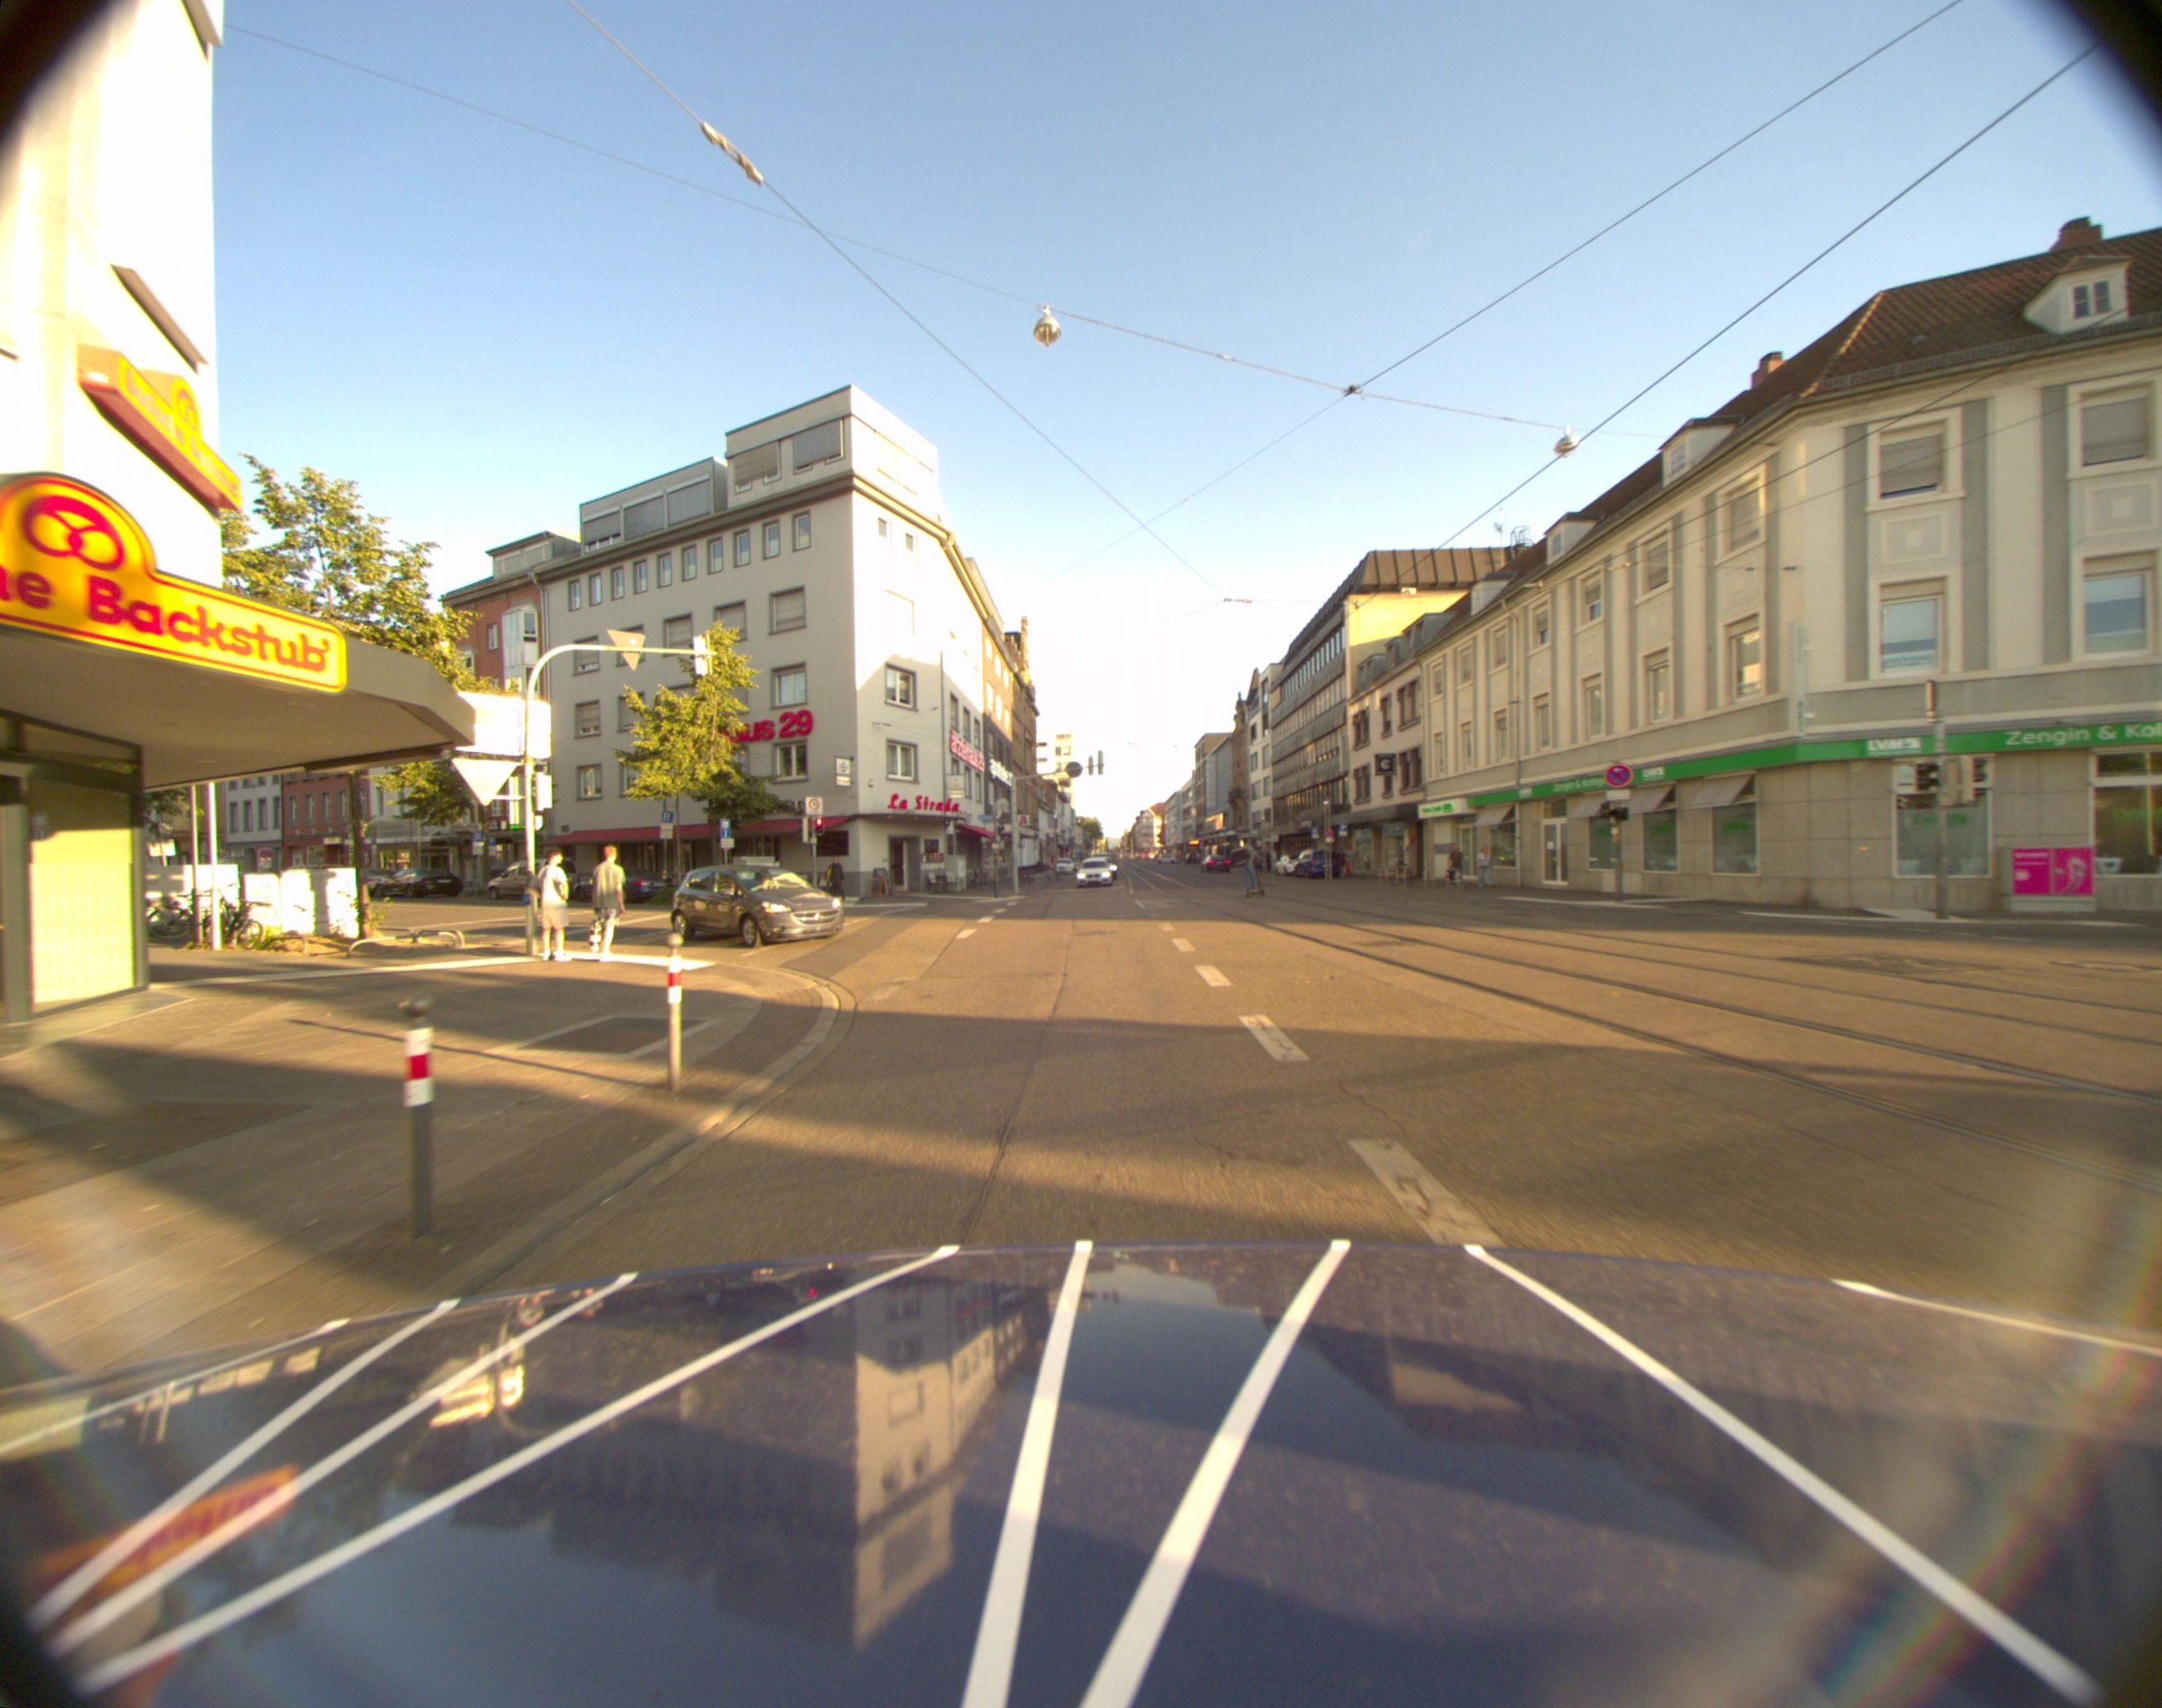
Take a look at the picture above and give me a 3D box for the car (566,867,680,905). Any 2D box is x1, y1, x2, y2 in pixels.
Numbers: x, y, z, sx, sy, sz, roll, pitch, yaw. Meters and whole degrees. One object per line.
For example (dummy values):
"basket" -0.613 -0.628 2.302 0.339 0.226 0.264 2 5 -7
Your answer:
"car" -17.849 1.192 29.590 4.300 1.345 1.657 0 0 25

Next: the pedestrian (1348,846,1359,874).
"pedestrian" 16.965 0.366 47.320 0.515 1.725 0.601 -1 3 2

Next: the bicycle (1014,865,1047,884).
"bicycle" -2.808 1.148 42.333 1.828 1.025 0.443 0 0 -4

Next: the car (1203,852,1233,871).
"car" 11.335 0.624 63.075 1.895 1.471 4.544 0 0 3

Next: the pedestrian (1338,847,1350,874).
"pedestrian" 16.324 0.407 47.190 0.509 1.675 0.584 -2 2 1

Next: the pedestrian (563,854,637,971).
"pedestrian" -7.478 0.887 11.841 0.749 1.763 0.586 -1 1 -5

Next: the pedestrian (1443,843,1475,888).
"pedestrian" 15.021 0.442 30.215 0.827 1.718 0.814 -2 1 2

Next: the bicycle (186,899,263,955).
"bicycle" -16.333 1.377 14.489 1.666 1.004 0.405 -1 -1 21

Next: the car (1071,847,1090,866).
"car" -0.046 0.261 85.510 2.041 2.105 4.387 -1 0 2

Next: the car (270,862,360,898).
"car" -42.845 1.455 42.494 4.935 1.873 1.977 -2 0 26

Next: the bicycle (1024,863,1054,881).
"bicycle" -2.509 1.049 45.344 1.762 1.065 0.443 0 2 -4

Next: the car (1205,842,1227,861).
"car" 15.230 -0.346 85.939 1.998 2.002 3.999 -1 2 3

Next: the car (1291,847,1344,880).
"car" 14.184 0.531 45.782 1.914 1.785 4.129 -3 1 2

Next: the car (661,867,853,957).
"car" -6.208 1.003 14.432 3.831 1.445 1.591 -1 1 36

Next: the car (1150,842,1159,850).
"car" 20.632 -2.196 214.107 1.998 2.002 3.998 -1 2 0

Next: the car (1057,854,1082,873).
"car" -0.966 0.829 68.509 2.041 1.550 4.387 -1 0 2

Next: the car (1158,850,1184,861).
"car" 14.669 0.178 123.453 3.825 1.739 1.810 1 3 39

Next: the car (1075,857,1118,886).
"car" 0.852 0.894 39.493 1.914 1.350 3.747 -2 0 6

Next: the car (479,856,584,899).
"car" -23.340 0.965 32.281 3.990 1.655 1.722 0 2 23

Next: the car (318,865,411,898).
"car" -36.871 1.400 39.083 4.931 1.590 1.900 -1 -1 27

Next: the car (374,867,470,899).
"car" -31.636 1.369 36.494 4.406 1.385 1.808 0 1 25

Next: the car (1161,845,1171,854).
"car" 19.488 -1.079 174.622 1.960 2.002 3.998 -1 2 0

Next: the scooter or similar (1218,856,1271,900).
"scooter or similar" 5.263 0.765 24.480 1.671 1.343 0.545 -1 1 -26

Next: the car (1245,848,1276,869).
"car" 14.921 0.352 63.420 1.819 1.548 3.999 -1 2 3

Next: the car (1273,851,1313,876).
"car" 14.379 0.629 51.810 1.701 1.614 4.000 -2 0 2

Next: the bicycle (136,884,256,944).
"bicycle" -19.683 1.301 16.954 0.493 1.187 1.664 -1 1 14

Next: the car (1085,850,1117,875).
"car" 1.398 0.548 52.040 1.998 1.630 4.001 -1 0 3

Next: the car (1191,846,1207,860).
"car" 17.161 -0.116 110.585 1.833 1.907 3.999 -1 2 2

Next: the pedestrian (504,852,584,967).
"pedestrian" -8.447 0.856 11.972 0.748 1.763 0.639 -1 1 6

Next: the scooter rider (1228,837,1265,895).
"scooter rider" 5.340 0.377 24.526 0.789 1.797 0.812 -2 1 -26

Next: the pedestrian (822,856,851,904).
"pedestrian" -8.477 0.894 26.336 0.799 1.646 0.586 -1 1 -1

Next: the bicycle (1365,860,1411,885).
"bicycle" 13.301 0.823 32.950 1.740 1.052 0.499 -1 -2 11

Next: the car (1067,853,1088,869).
"car" -0.356 0.707 80.291 2.041 1.550 4.387 -1 0 2

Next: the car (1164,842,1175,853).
"car" 19.417 -1.484 167.336 1.975 2.181 4.133 -1 2 2

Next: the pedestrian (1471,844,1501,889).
"pedestrian" 15.336 0.468 28.804 0.826 1.631 0.815 -2 0 19

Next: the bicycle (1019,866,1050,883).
"bicycle" -2.681 1.191 43.876 1.762 0.944 0.443 0 2 -4

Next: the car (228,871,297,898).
"car" -48.300 1.784 44.834 3.833 1.516 1.740 -1 0 26

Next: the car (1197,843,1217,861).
"car" 15.358 -0.317 92.682 1.998 2.047 3.999 -1 2 3

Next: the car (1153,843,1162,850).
"car" 21.031 -2.093 208.468 1.998 2.002 3.998 -1 2 0

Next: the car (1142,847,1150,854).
"car" 18.604 -1.006 217.541 1.998 2.002 3.998 -1 2 0

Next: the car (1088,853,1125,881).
"car" 1.628 0.767 47.332 1.998 1.471 4.000 -1 2 6
